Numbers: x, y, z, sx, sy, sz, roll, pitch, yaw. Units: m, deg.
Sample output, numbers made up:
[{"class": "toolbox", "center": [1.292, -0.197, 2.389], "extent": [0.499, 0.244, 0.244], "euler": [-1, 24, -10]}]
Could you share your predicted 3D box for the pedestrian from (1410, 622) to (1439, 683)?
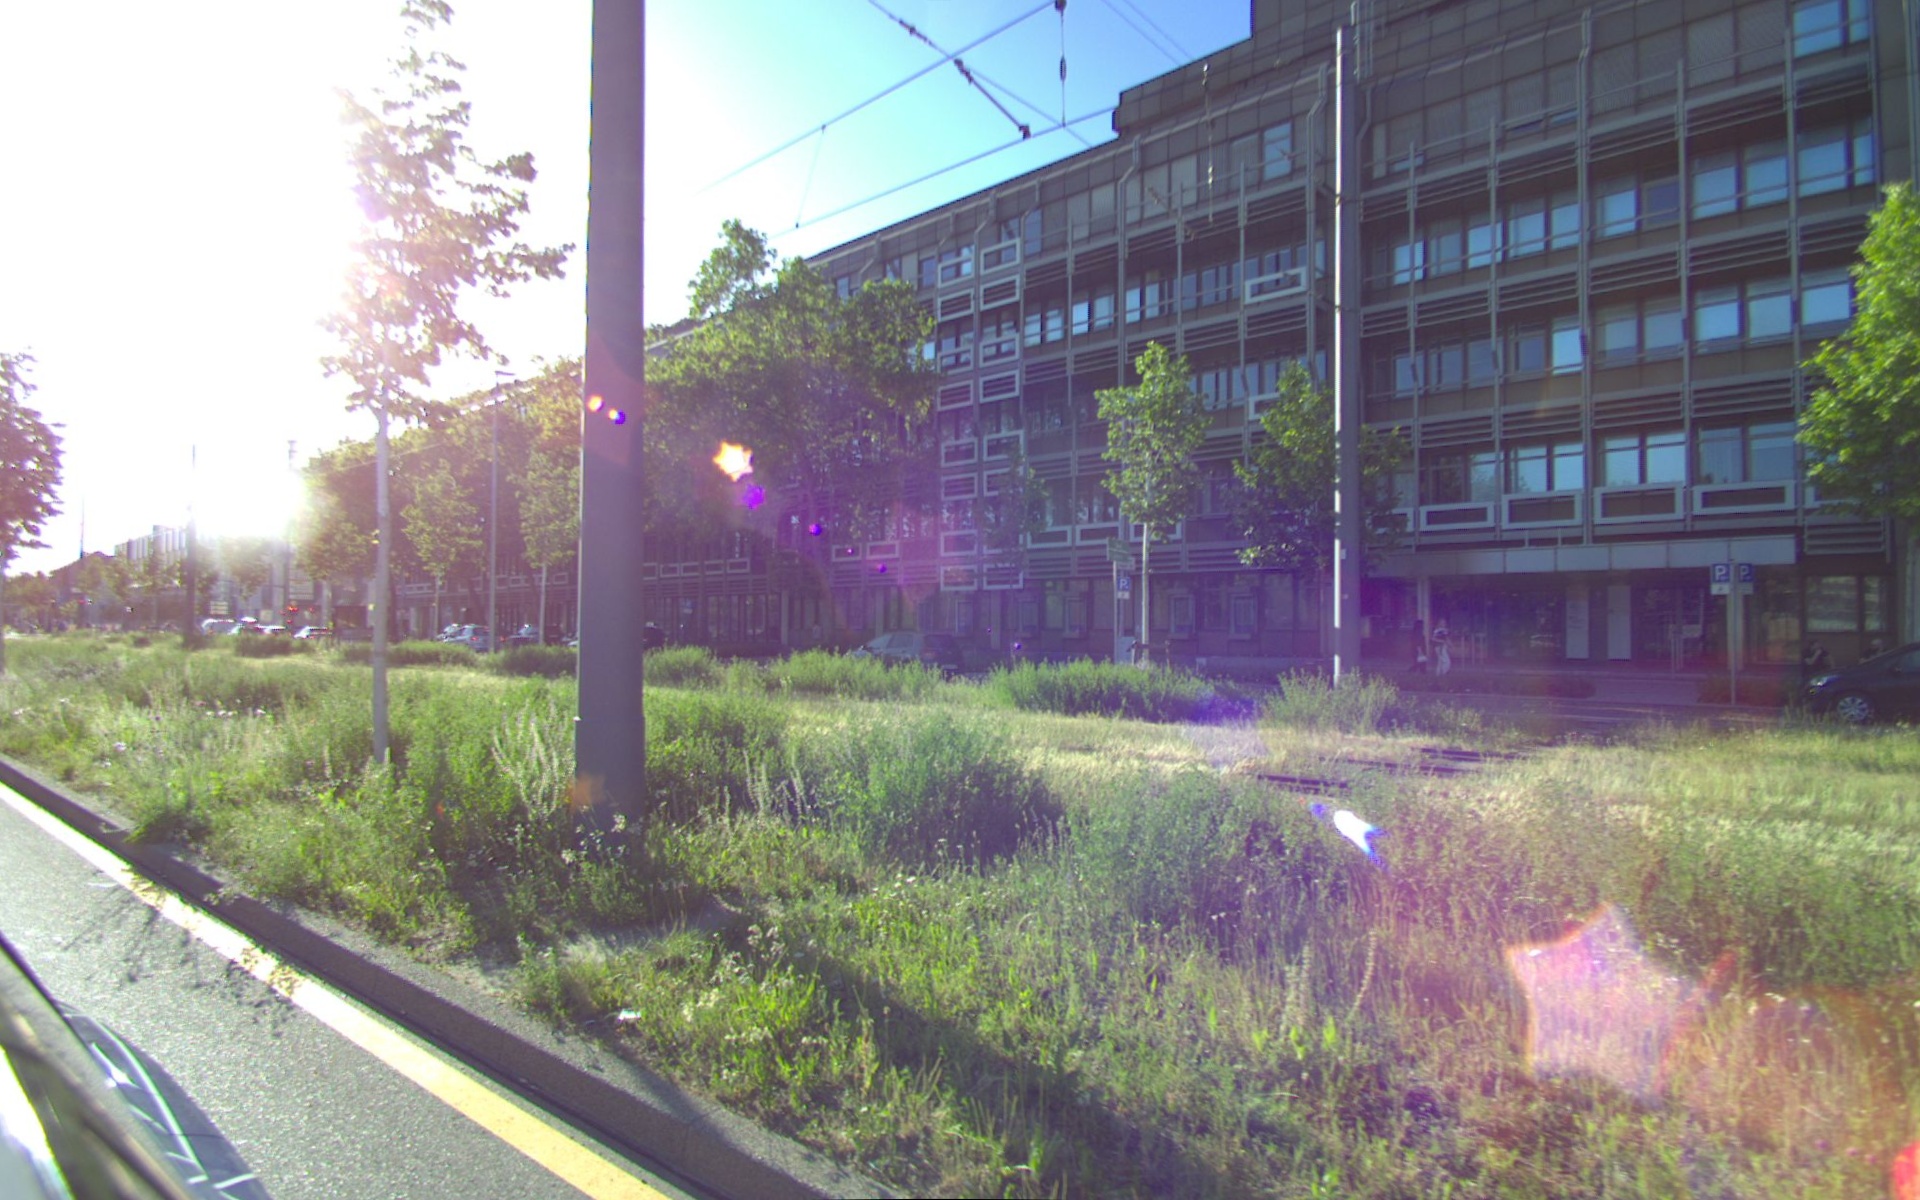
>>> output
[{"class": "pedestrian", "center": [12.192, 1.367, 26.581], "extent": [0.536, 1.590, 0.514], "euler": [-2, -3, 44]}]

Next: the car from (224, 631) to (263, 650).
[{"class": "car", "center": [-53.027, 3.015, 74.914], "extent": [3.779, 1.390, 1.534], "euler": [-2, -3, 42]}]

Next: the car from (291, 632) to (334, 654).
[{"class": "car", "center": [-46.888, 3.092, 73.273], "extent": [3.779, 1.507, 1.610], "euler": [-2, -3, 42]}]

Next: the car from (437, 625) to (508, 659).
[{"class": "car", "center": [-22.365, 1.930, 46.406], "extent": [3.779, 1.507, 1.610], "euler": [-2, -3, 42]}]

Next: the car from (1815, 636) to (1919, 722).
[{"class": "car", "center": [17.386, 1.356, 17.428], "extent": [4.037, 1.397, 1.698], "euler": [-1, -1, 41]}]

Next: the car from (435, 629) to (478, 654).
[{"class": "car", "center": [-33.661, 2.763, 67.582], "extent": [3.263, 1.614, 1.372], "euler": [-2, -1, 40]}]

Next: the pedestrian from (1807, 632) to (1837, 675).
[{"class": "pedestrian", "center": [20.321, 1.265, 23.848], "extent": [0.498, 0.993, 0.610], "euler": [-2, -3, 43]}]

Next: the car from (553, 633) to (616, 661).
[{"class": "car", "center": [-20.980, 2.624, 56.544], "extent": [3.628, 1.497, 1.704], "euler": [-3, -5, 40]}]

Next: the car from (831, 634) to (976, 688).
[{"class": "car", "center": [-1.641, 1.666, 28.511], "extent": [4.037, 1.398, 1.698], "euler": [-1, -3, 41]}]

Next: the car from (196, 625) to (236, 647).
[{"class": "car", "center": [-60.370, 2.906, 82.087], "extent": [3.779, 1.694, 1.841], "euler": [-2, -3, 42]}]

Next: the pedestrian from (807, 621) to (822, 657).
[{"class": "pedestrian", "center": [-7.313, 1.963, 50.849], "extent": [0.639, 1.763, 0.477], "euler": [-2, -3, 42]}]

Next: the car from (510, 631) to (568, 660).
[{"class": "car", "center": [-25.037, 2.652, 60.102], "extent": [3.628, 1.614, 1.704], "euler": [-2, -1, 40]}]

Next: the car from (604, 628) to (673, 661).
[{"class": "car", "center": [-16.549, 2.258, 52.061], "extent": [3.628, 1.555, 1.704], "euler": [-2, -1, 40]}]

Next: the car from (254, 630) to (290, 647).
[{"class": "car", "center": [-55.432, 3.096, 81.524], "extent": [3.779, 1.390, 1.534], "euler": [-2, -3, 42]}]

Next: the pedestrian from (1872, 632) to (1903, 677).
[{"class": "pedestrian", "center": [21.218, 1.241, 23.155], "extent": [0.498, 0.993, 0.610], "euler": [-2, -3, 43]}]

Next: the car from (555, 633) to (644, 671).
[{"class": "car", "center": [-15.315, 2.172, 42.876], "extent": [4.416, 1.507, 1.610], "euler": [-2, -3, 42]}]

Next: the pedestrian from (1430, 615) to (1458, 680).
[{"class": "pedestrian", "center": [12.948, 1.265, 27.069], "extent": [0.536, 1.735, 0.514], "euler": [-2, -3, 44]}]
